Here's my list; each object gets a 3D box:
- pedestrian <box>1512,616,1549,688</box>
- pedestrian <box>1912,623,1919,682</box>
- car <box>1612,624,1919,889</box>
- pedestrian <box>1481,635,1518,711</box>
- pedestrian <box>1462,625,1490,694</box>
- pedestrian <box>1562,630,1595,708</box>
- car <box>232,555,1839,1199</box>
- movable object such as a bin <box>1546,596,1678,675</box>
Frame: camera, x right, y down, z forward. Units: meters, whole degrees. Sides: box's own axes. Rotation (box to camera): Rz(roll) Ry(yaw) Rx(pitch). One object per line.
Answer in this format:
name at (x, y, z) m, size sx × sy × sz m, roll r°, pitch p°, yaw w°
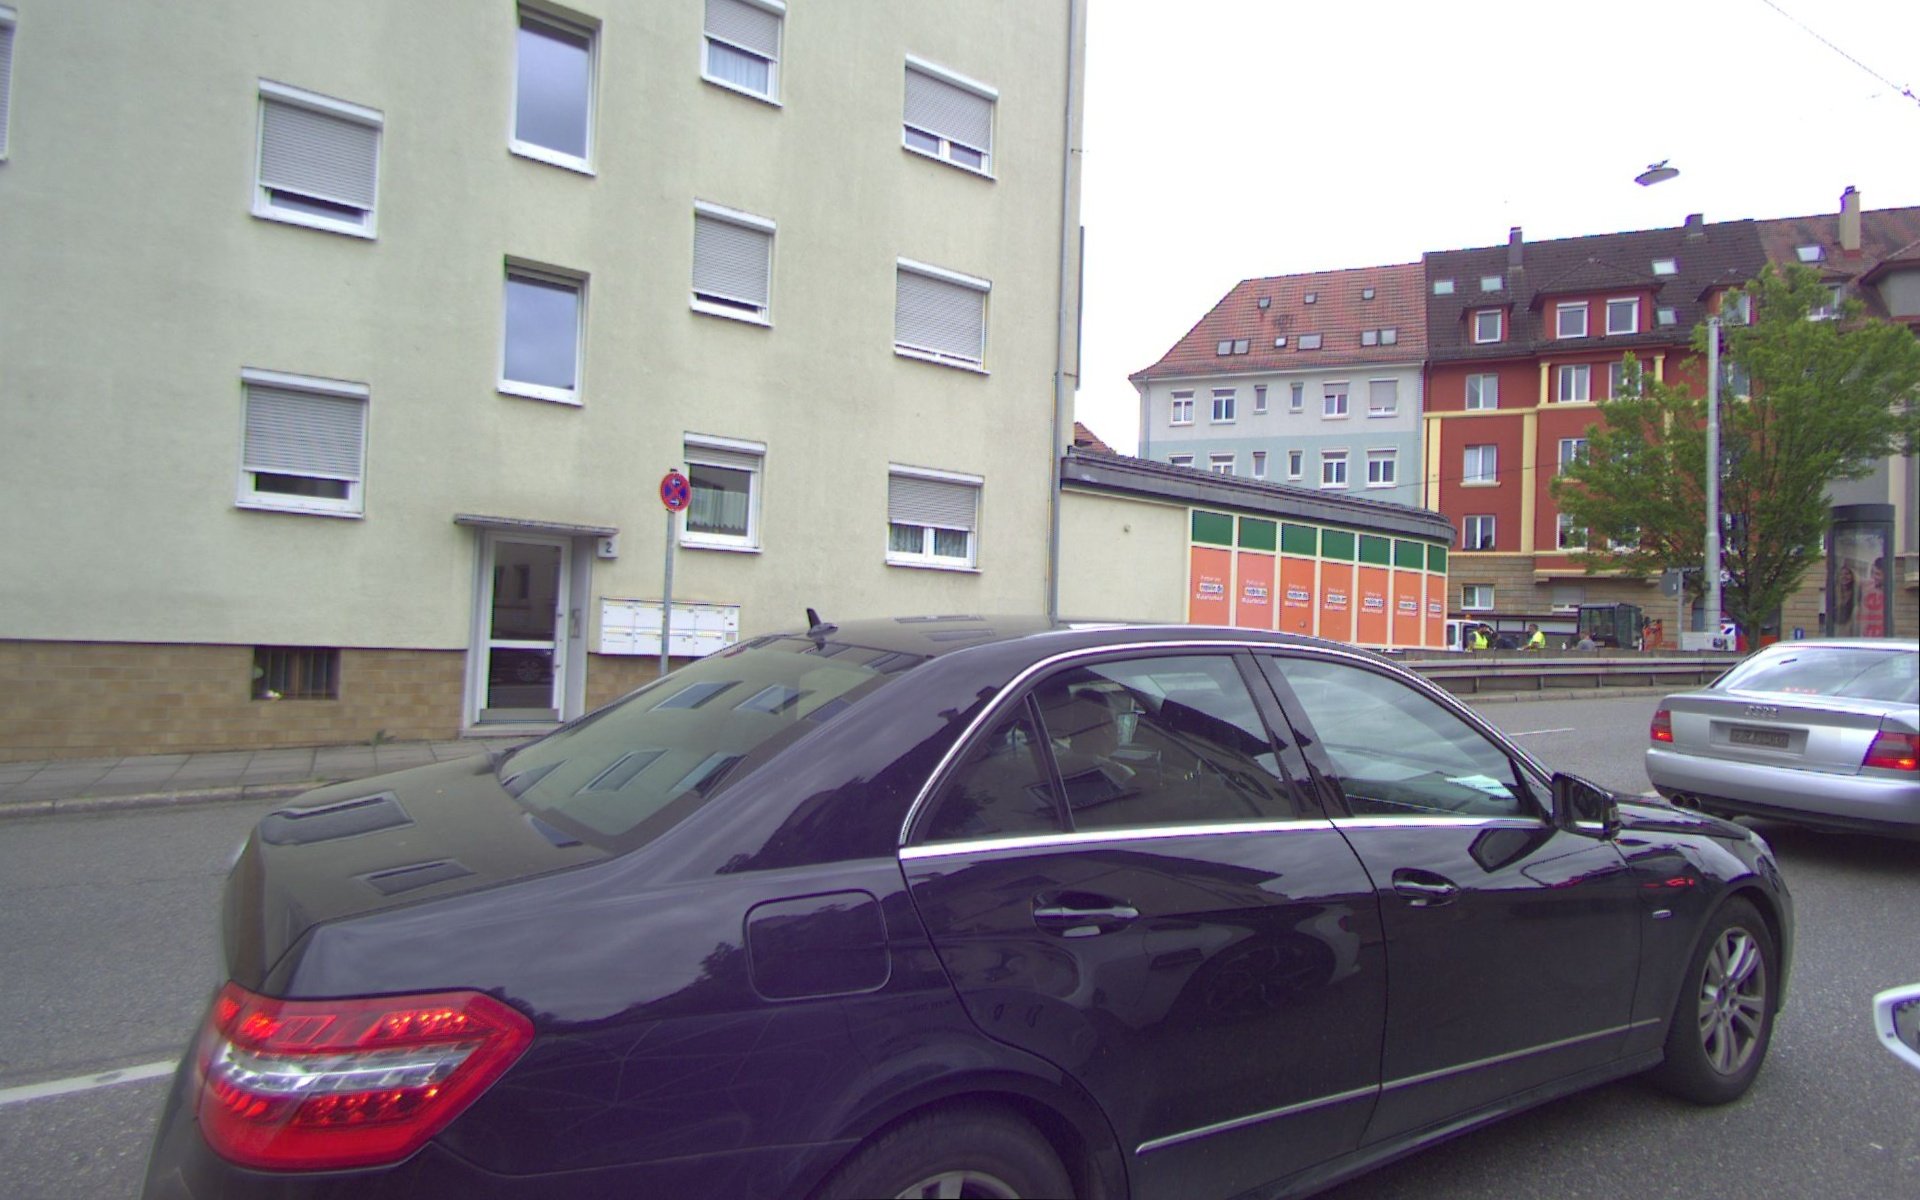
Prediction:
pedestrian at (14.391, 1.302, 25.338) m, size 0.612 × 1.785 × 0.566 m, roll 1°, pitch 1°, yaw -38°
pedestrian at (26.121, 1.436, 27.009) m, size 0.480 × 1.588 × 0.586 m, roll 2°, pitch 1°, yaw -30°
car at (6.748, 0.895, 7.123) m, size 4.122 × 1.391 × 1.691 m, roll 0°, pitch 0°, yaw -26°
pedestrian at (12.679, 1.708, 23.600) m, size 0.539 × 1.722 × 0.557 m, roll 1°, pitch 1°, yaw -41°
pedestrian at (13.557, 1.547, 26.400) m, size 0.467 × 1.753 × 0.543 m, roll 2°, pitch 1°, yaw 14°
pedestrian at (14.377, 1.588, 23.361) m, size 0.533 × 1.753 × 0.593 m, roll 3°, pitch 1°, yaw 26°
car at (0.636, 0.744, 3.007) m, size 4.395 × 1.473 × 1.739 m, roll 2°, pitch -1°, yaw -31°
movable object such as a bin at (16.699, 0.877, 25.661) m, size 3.972 × 1.795 × 1.884 m, roll 2°, pitch 1°, yaw -43°
